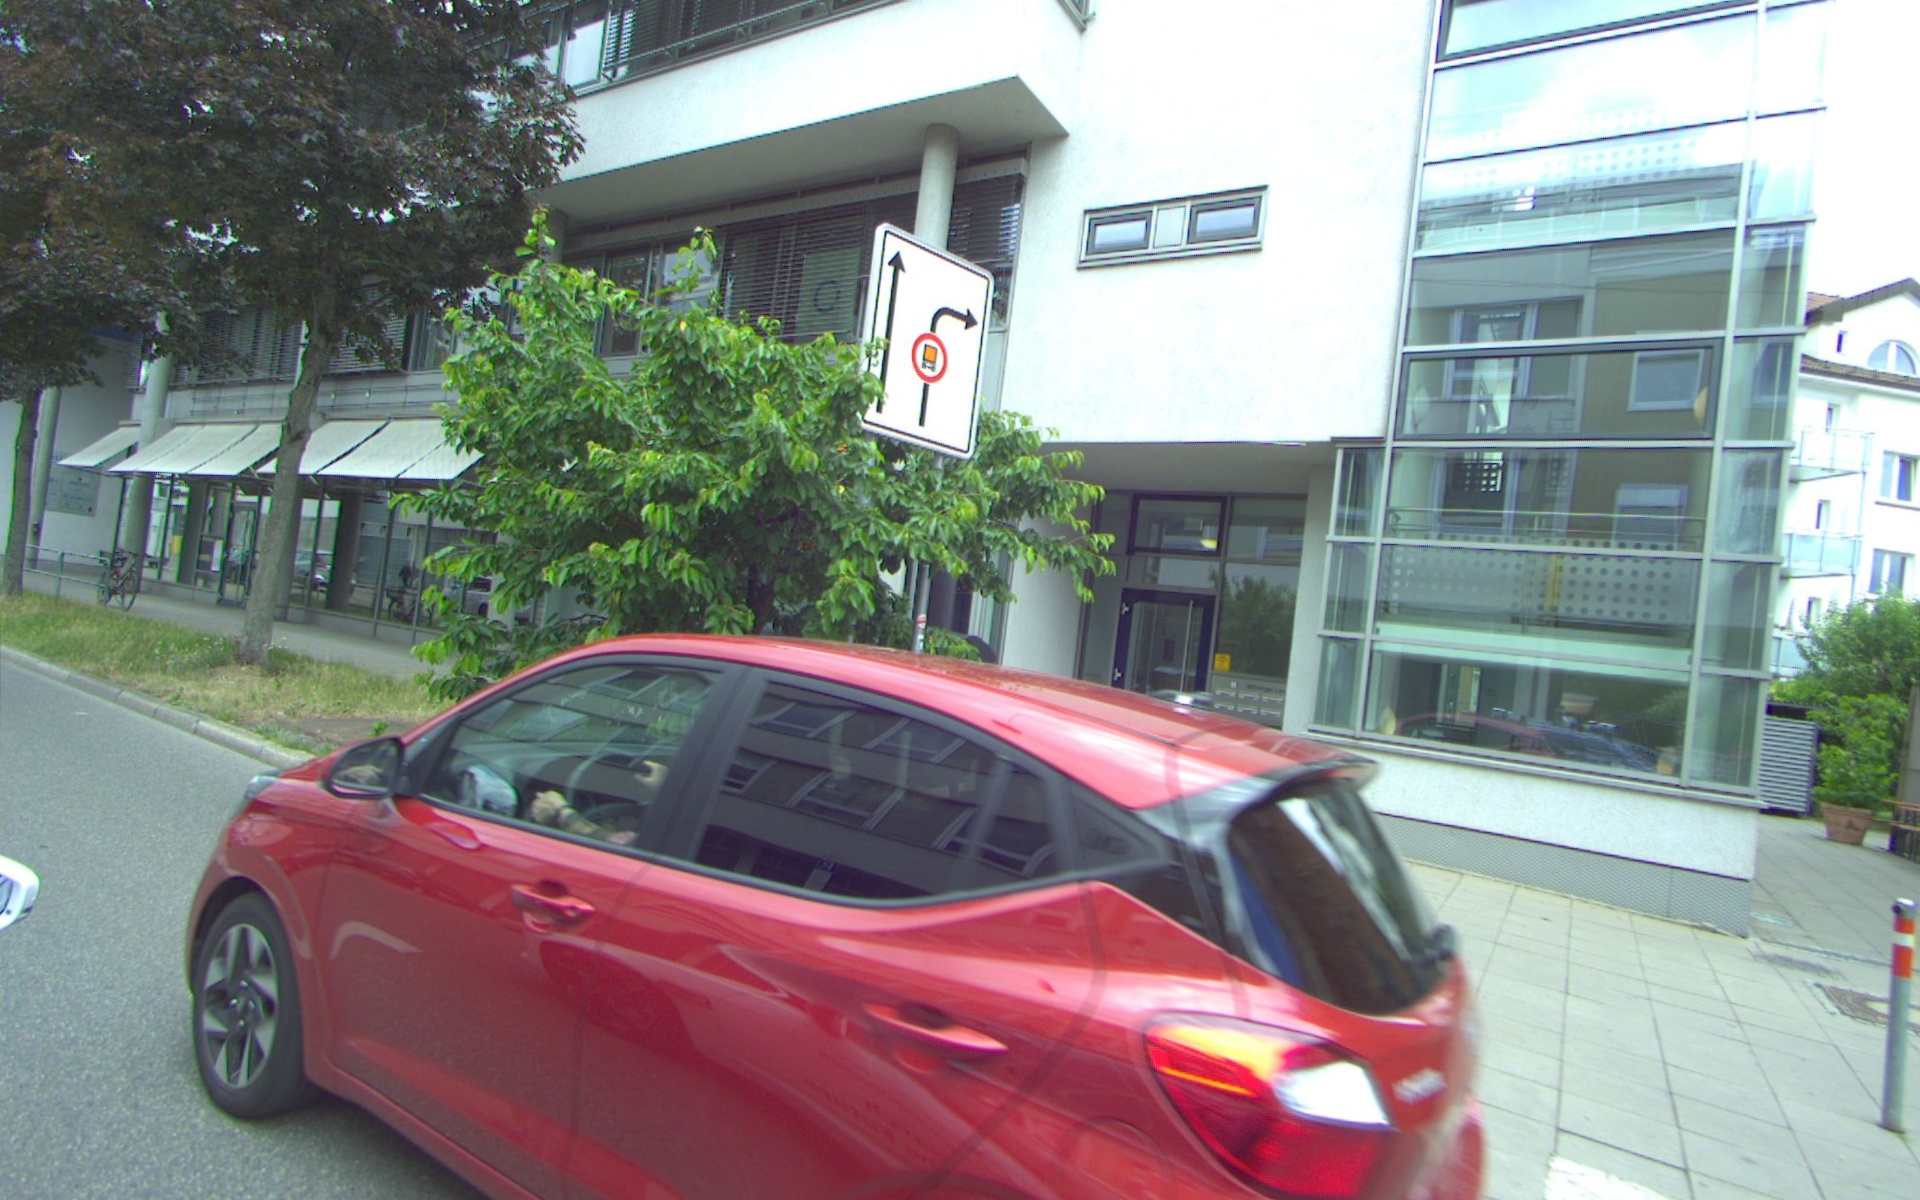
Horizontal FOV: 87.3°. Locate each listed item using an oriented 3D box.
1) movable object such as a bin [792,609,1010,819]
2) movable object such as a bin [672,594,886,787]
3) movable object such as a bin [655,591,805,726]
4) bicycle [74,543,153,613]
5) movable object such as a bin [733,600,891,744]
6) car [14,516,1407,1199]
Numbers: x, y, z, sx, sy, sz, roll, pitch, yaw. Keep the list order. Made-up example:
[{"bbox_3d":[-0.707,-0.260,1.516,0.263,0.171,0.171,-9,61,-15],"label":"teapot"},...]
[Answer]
[{"bbox_3d":[-0.485,0.913,8.475,1.311,1.483,1.099,6,0,31],"label":"movable object such as a bin"},{"bbox_3d":[-1.640,0.790,9.163,1.389,1.483,1.129,6,0,31],"label":"movable object such as a bin"},{"bbox_3d":[-2.880,0.720,12.614,1.311,1.483,1.099,6,0,31],"label":"movable object such as a bin"},{"bbox_3d":[-15.491,-0.415,18.390,1.994,1.098,0.361,6,-2,31],"label":"bicycle"},{"bbox_3d":[-1.742,0.836,11.918,1.311,1.483,1.123,6,0,31],"label":"movable object such as a bin"},{"bbox_3d":[-0.942,0.744,3.076,3.933,1.467,1.704,6,-4,31],"label":"car"}]
